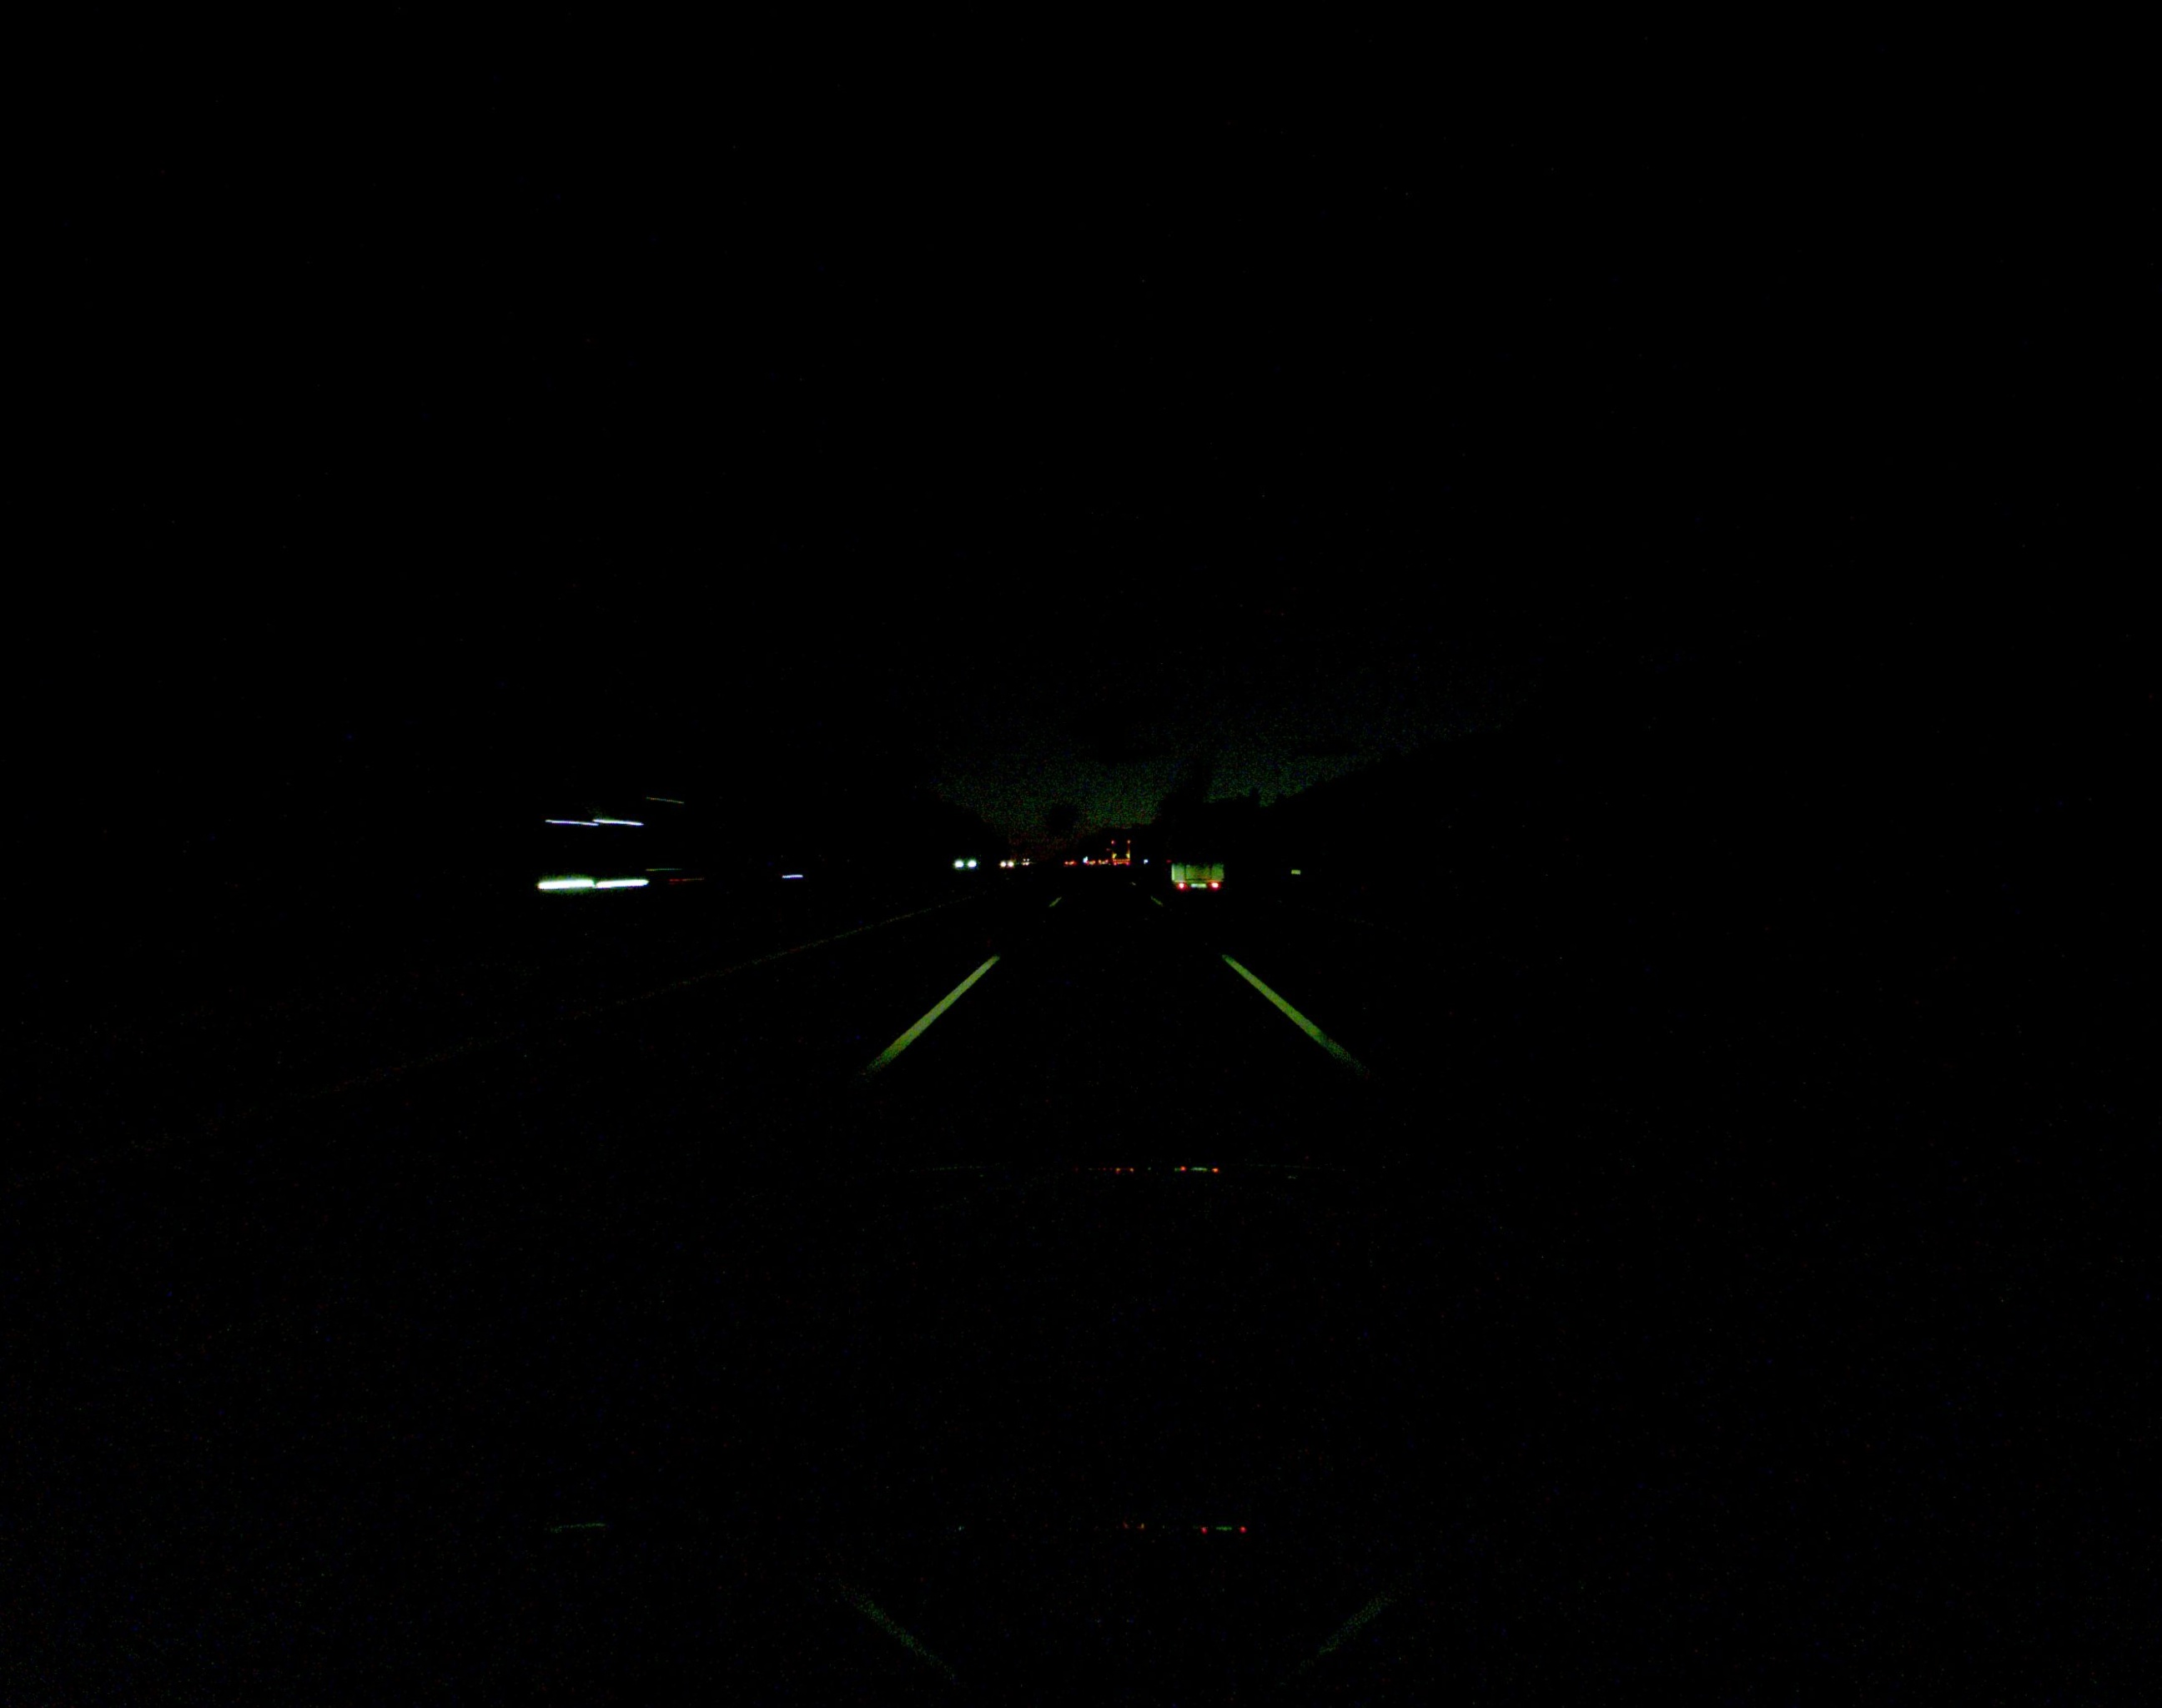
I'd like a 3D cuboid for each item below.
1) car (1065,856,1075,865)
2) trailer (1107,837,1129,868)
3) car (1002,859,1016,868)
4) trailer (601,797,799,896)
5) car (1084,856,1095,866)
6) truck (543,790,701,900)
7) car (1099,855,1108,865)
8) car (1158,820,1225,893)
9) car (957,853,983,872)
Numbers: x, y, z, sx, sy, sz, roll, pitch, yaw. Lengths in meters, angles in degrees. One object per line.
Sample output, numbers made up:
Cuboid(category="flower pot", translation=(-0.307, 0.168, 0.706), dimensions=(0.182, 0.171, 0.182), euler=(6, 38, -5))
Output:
Cuboid(category="car", translation=(-2.199, 1.309, 168.363), dimensions=(1.988, 1.794, 3.996), euler=(-1, -2, -2))
Cuboid(category="trailer", translation=(5.720, -0.010, 129.144), dimensions=(2.820, 4.257, 17.044), euler=(-1, -2, 0))
Cuboid(category="car", translation=(-13.211, 1.762, 150.137), dimensions=(2.237, 1.668, 4.888), euler=(-1, 0, -1))
Cuboid(category="trailer", translation=(-17.873, -0.270, 40.011), dimensions=(2.843, 3.980, 13.889), euler=(-1, 0, 1))
Cuboid(category="car", translation=(1.757, 1.380, 162.390), dimensions=(1.985, 1.794, 4.002), euler=(-1, -2, 2))
Cuboid(category="truck", translation=(-18.048, -0.311, 32.543), dimensions=(2.844, 3.980, 5.861), euler=(-1, 0, 1))
Cuboid(category="car", translation=(5.141, 1.463, 187.484), dimensions=(1.987, 2.117, 4.000), euler=(-1, -2, 1))
Cuboid(category="car", translation=(4.335, 0.119, 32.756), dimensions=(2.025, 2.647, 5.726), euler=(-1, -1, 2))
Cuboid(category="car", translation=(-12.960, 0.940, 95.427), dimensions=(2.238, 2.101, 5.712), euler=(-1, 0, -1))
